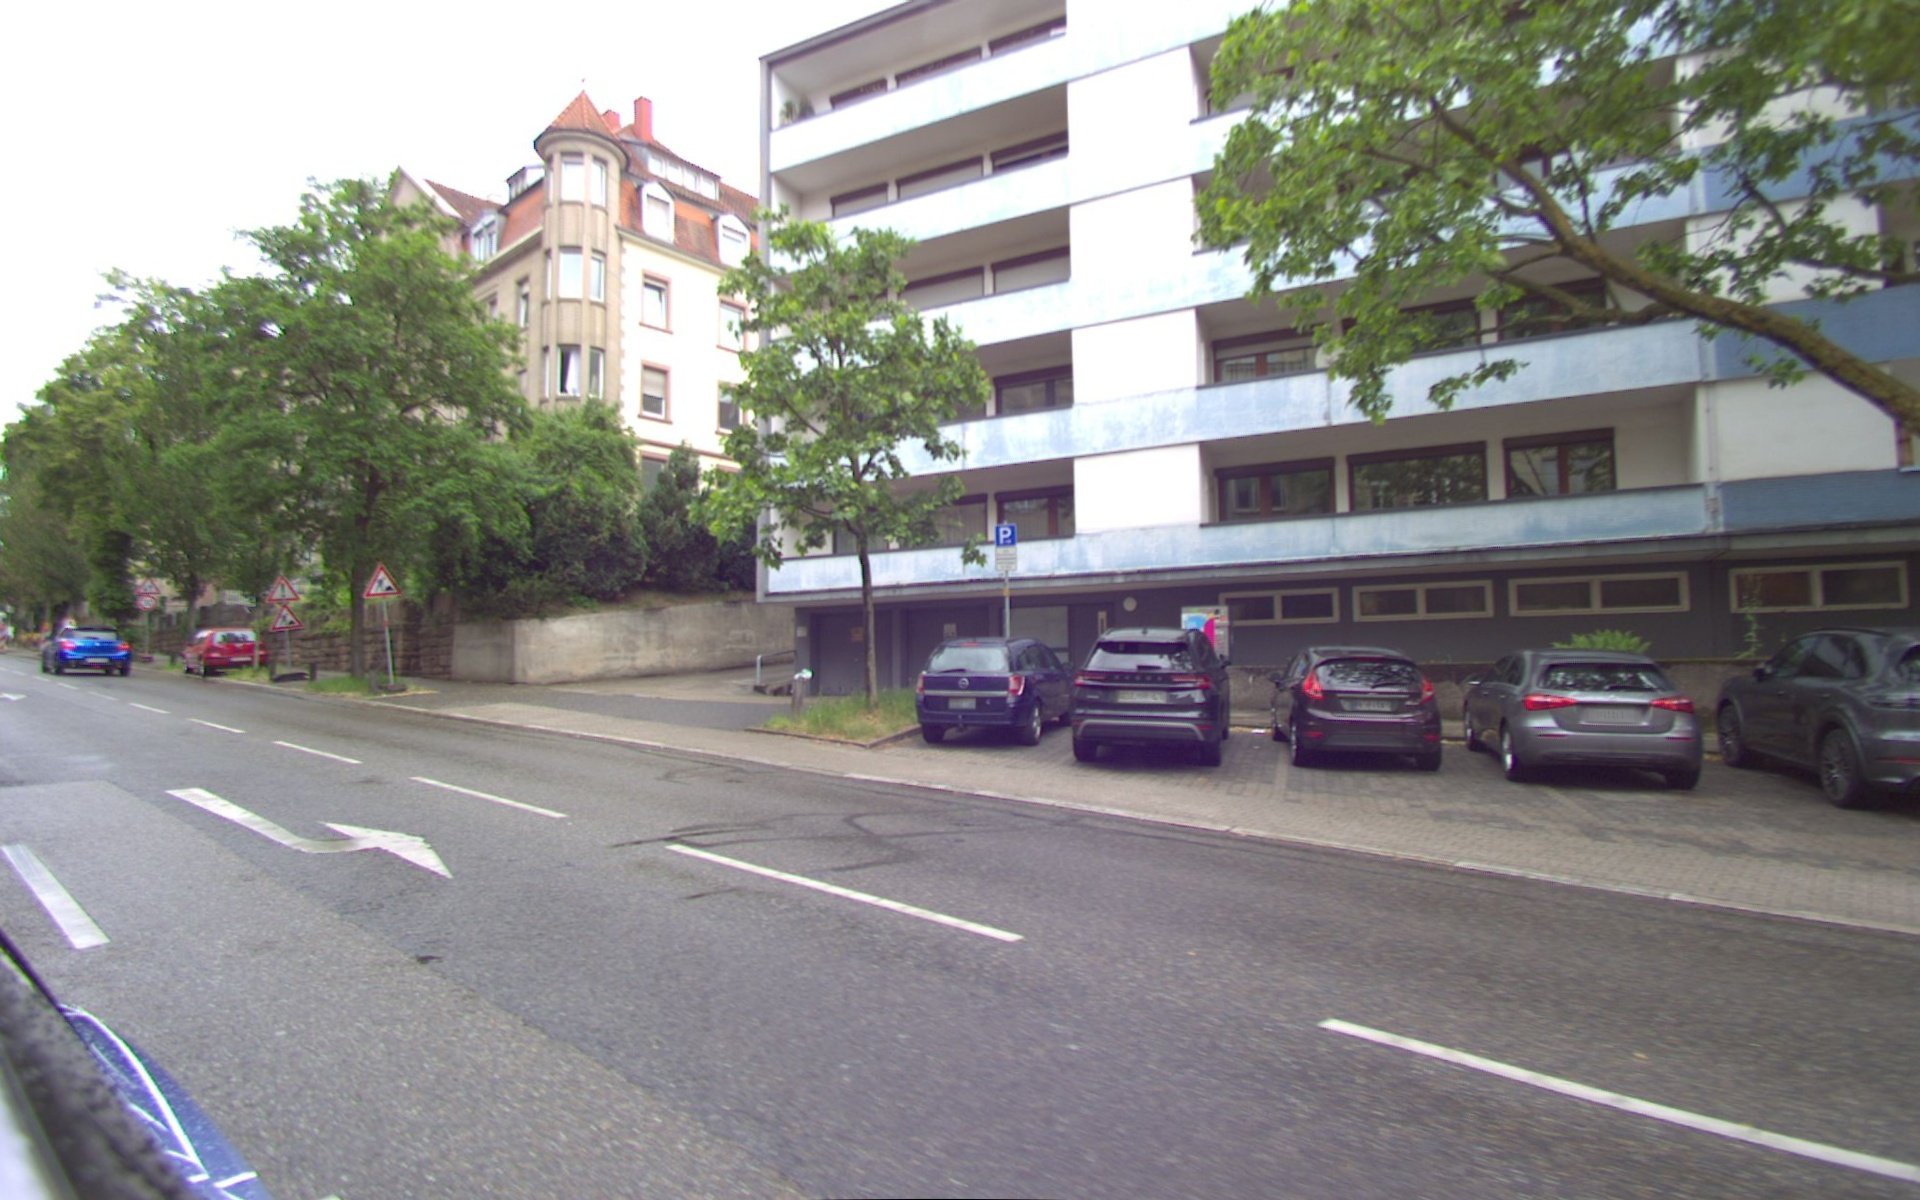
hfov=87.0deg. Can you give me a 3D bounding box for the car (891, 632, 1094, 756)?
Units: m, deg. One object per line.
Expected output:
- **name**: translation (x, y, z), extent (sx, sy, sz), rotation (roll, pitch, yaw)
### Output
- **car**: translation (0.669, 1.290, 15.500), extent (1.928, 1.586, 4.342), rotation (0, -2, 19)

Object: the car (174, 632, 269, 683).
- **car**: translation (-22.977, 1.722, 31.445), extent (4.063, 1.462, 1.596), rotation (-1, -2, 42)

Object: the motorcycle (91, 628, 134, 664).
- **motorcycle**: translation (-35.188, 1.885, 42.011), extent (3.058, 1.425, 0.792), rotation (-2, -1, 39)

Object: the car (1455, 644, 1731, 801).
- **car**: translation (7.160, 1.279, 11.926), extent (1.732, 1.441, 3.913), rotation (0, -2, 16)

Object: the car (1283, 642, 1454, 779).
- **car**: translation (5.184, 1.308, 13.297), extent (1.683, 1.441, 3.972), rotation (0, -2, 16)

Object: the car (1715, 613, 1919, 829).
- **car**: translation (9.492, 1.068, 10.140), extent (1.925, 1.797, 4.339), rotation (0, -2, 21)

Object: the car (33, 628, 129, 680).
- **car**: translation (-26.296, 1.573, 30.236), extent (3.741, 1.462, 1.696), rotation (-1, -3, 42)

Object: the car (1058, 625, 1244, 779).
- **car**: translation (2.715, 1.194, 13.517), extent (1.841, 1.685, 4.351), rotation (0, -2, 19)
